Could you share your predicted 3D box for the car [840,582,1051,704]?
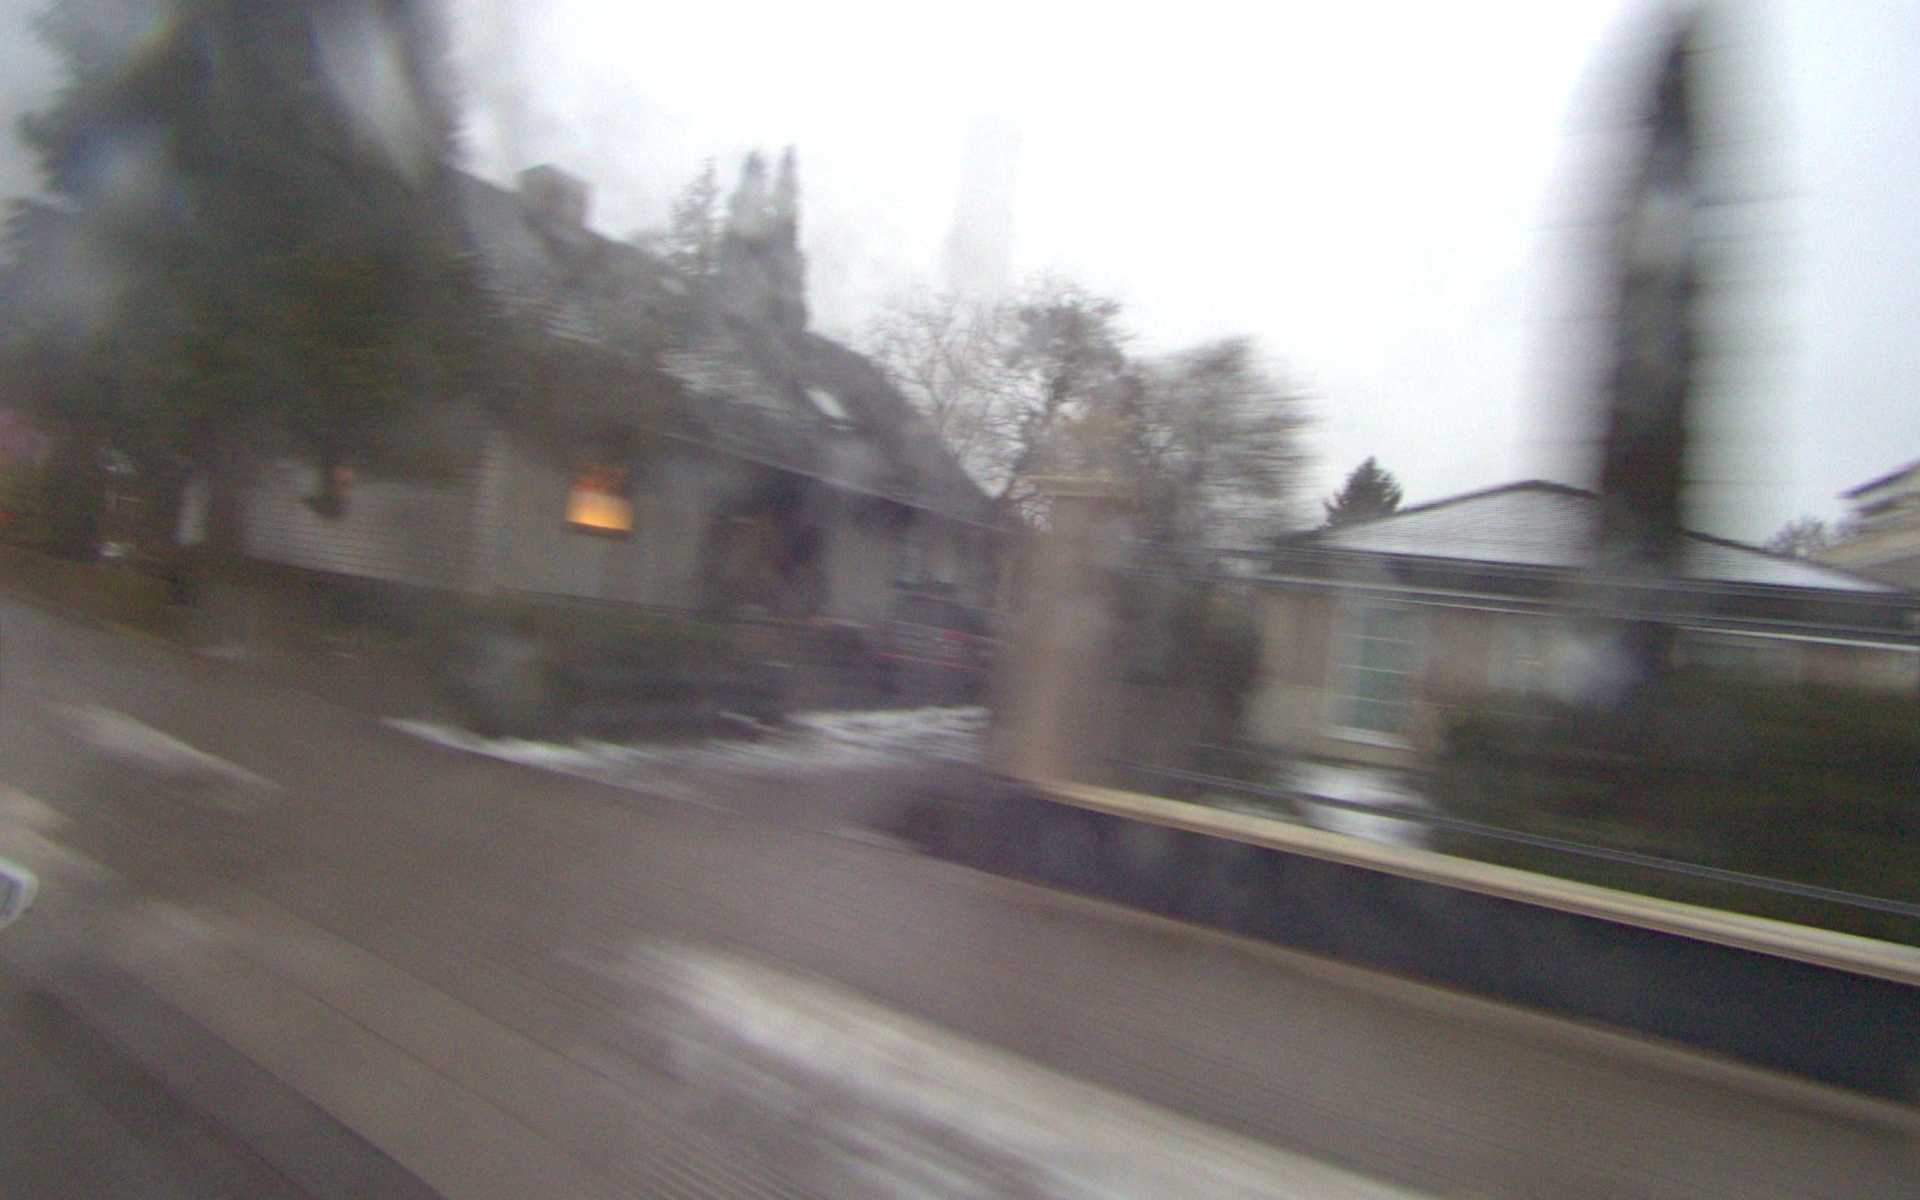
[{"bbox_3d":[-0.115,0.828,17.861,1.862,1.665,3.997,9,0,28],"label":"car"}]
